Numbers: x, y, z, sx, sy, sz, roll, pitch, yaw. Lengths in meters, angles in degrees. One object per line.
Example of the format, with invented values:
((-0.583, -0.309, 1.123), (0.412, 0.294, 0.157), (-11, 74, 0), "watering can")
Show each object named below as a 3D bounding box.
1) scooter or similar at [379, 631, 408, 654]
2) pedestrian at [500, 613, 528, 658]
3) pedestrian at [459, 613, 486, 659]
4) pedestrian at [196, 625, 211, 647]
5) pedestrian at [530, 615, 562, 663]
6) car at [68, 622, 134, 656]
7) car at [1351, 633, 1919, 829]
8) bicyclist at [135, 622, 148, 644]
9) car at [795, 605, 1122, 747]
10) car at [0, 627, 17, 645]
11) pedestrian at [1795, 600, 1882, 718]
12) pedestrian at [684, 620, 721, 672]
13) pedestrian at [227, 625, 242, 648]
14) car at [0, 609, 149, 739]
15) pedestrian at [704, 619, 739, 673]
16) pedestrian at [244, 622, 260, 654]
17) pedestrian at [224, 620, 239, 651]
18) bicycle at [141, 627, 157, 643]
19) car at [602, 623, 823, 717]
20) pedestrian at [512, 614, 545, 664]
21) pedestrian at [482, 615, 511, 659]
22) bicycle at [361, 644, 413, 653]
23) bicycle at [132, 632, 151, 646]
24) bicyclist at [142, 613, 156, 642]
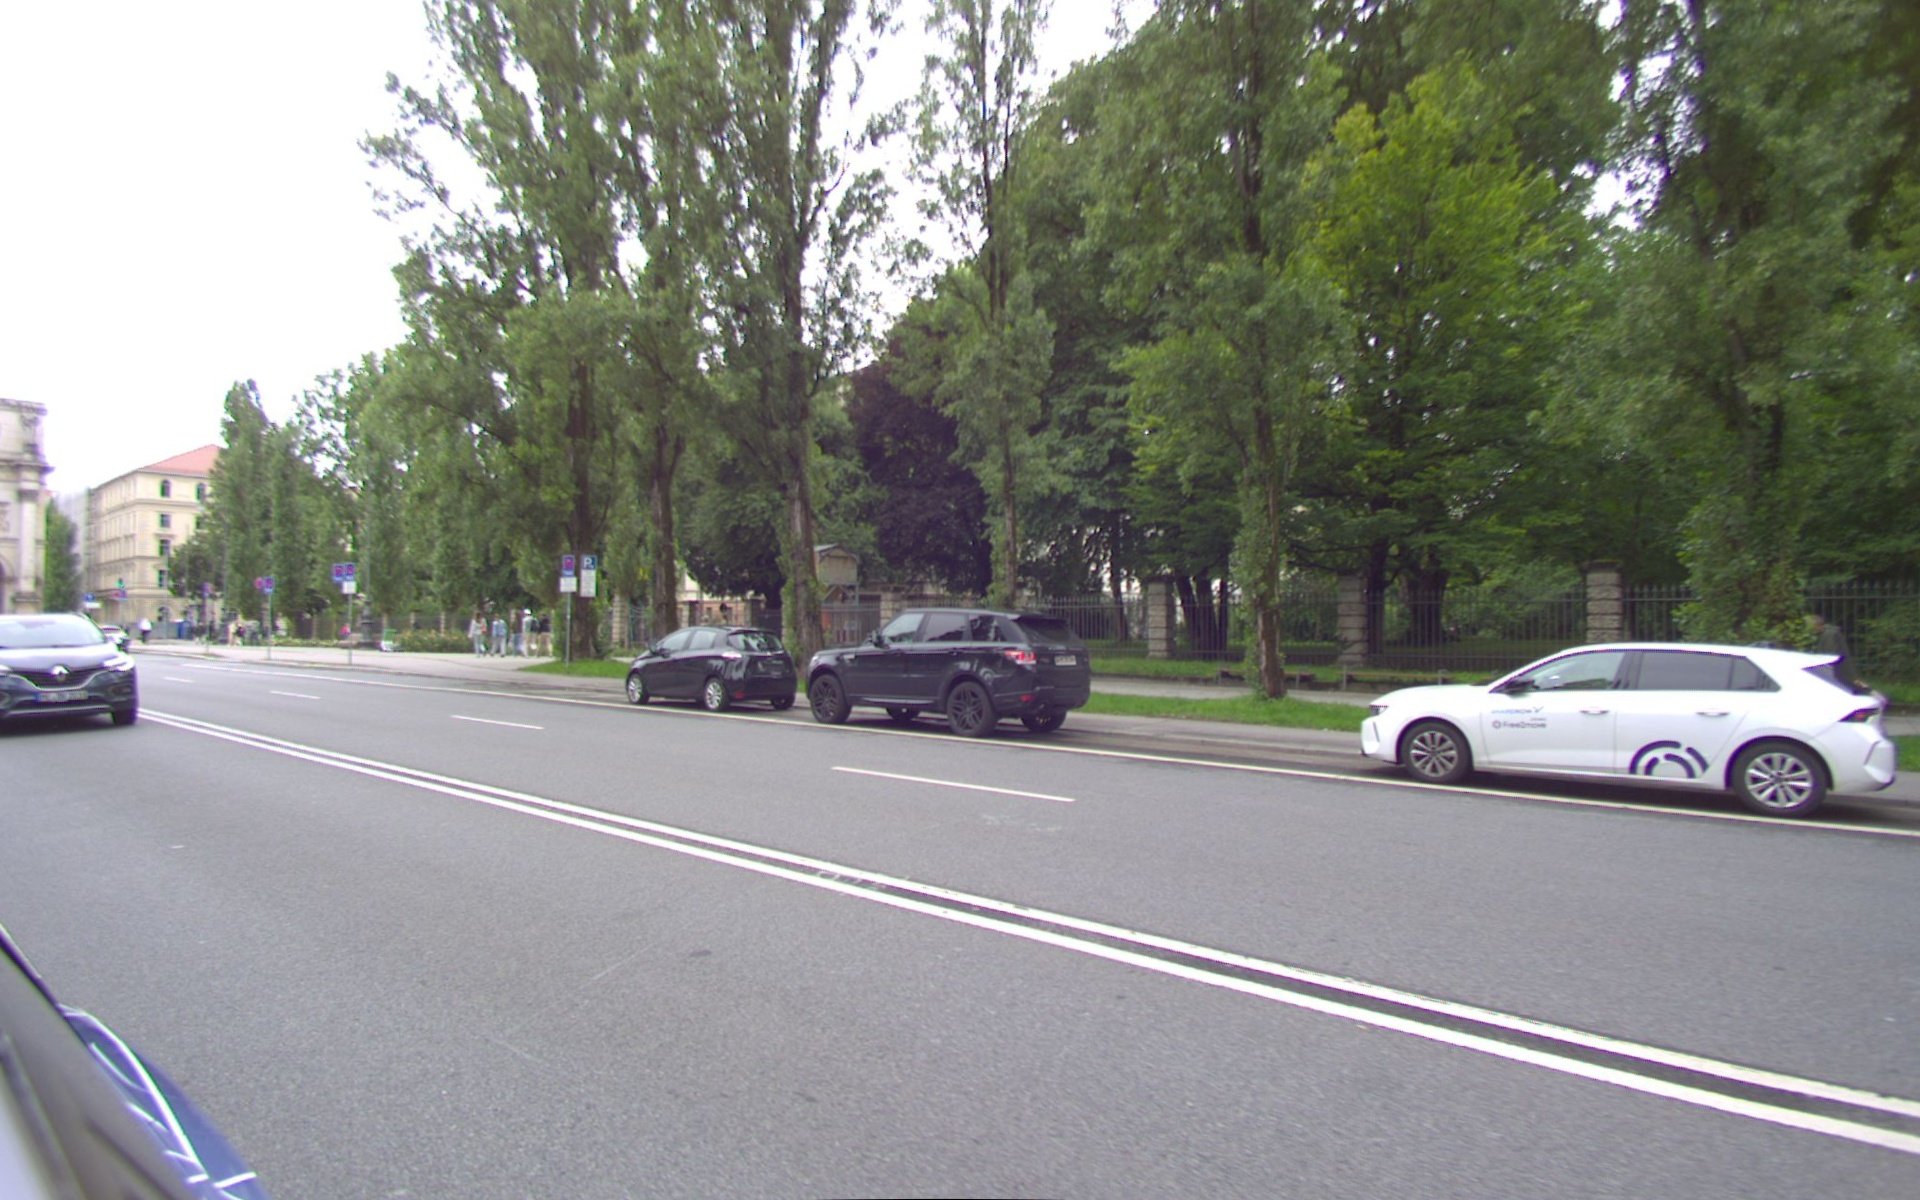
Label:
((-29.043, 2.188, 51.900), (1.413, 1.187, 0.738), (-1, -4, 36), "scooter or similar")
((-17.732, 1.410, 40.228), (0.910, 1.729, 0.653), (-2, -2, 40), "pedestrian")
((-18.703, 1.374, 38.815), (0.907, 1.760, 0.623), (-2, -2, 40), "pedestrian")
((-59.045, 2.807, 79.018), (0.945, 1.731, 1.032), (0, -1, -38), "pedestrian")
((-15.899, 1.494, 38.899), (1.092, 1.786, 0.702), (-1, -1, 40), "pedestrian")
((-44.632, 2.000, 52.557), (4.464, 1.346, 1.775), (4, 1, 39), "car")
((6.208, 1.089, 9.741), (4.269, 1.470, 1.687), (-1, -4, 40), "car")
((-59.475, 2.417, 73.548), (0.660, 1.604, 0.639), (-2, -1, 38), "bicyclist")
((-0.151, 1.064, 15.262), (4.798, 1.800, 2.024), (-1, -4, 42), "car")
((-96.137, 3.557, 100.055), (3.944, 1.763, 1.999), (0, -2, 1), "car")
((13.542, 0.891, 15.617), (0.956, 1.755, 0.822), (-2, -2, 41), "pedestrian")
((-7.843, 1.395, 30.783), (0.874, 1.560, 0.711), (-2, -2, 39), "pedestrian")
((-62.796, 3.146, 87.600), (0.976, 1.885, 1.032), (0, -1, -40), "pedestrian")
((-13.011, 0.956, 14.228), (4.183, 1.598, 1.816), (-1, -2, 41), "car")
((-7.386, 1.415, 31.348), (0.812, 1.617, 0.711), (-2, -2, 39), "pedestrian")
((-38.860, 2.059, 55.542), (0.581, 1.744, 0.527), (-1, -2, 29), "pedestrian")
((-42.277, 2.051, 58.726), (0.581, 1.744, 0.527), (-1, -2, 29), "pedestrian")
((-52.172, 2.244, 65.105), (1.912, 0.959, 0.465), (-2, -1, 40), "bicycle")
((-4.835, 1.288, 19.449), (4.386, 1.596, 1.924), (-1, -4, 41), "car")
((-16.338, 1.464, 38.328), (1.092, 1.847, 0.702), (-1, -1, 40), "pedestrian")
((-18.133, 1.436, 39.590), (0.885, 1.713, 0.681), (-2, -2, 40), "pedestrian")
((-31.676, 2.696, 55.950), (1.331, 0.456, 2.204), (-2, -2, 18), "bicycle")
((-59.479, 2.841, 73.530), (1.912, 0.959, 0.666), (-2, -1, 40), "bicycle")
((-52.182, 1.758, 65.088), (0.660, 1.837, 0.583), (-2, -1, 38), "bicyclist")
